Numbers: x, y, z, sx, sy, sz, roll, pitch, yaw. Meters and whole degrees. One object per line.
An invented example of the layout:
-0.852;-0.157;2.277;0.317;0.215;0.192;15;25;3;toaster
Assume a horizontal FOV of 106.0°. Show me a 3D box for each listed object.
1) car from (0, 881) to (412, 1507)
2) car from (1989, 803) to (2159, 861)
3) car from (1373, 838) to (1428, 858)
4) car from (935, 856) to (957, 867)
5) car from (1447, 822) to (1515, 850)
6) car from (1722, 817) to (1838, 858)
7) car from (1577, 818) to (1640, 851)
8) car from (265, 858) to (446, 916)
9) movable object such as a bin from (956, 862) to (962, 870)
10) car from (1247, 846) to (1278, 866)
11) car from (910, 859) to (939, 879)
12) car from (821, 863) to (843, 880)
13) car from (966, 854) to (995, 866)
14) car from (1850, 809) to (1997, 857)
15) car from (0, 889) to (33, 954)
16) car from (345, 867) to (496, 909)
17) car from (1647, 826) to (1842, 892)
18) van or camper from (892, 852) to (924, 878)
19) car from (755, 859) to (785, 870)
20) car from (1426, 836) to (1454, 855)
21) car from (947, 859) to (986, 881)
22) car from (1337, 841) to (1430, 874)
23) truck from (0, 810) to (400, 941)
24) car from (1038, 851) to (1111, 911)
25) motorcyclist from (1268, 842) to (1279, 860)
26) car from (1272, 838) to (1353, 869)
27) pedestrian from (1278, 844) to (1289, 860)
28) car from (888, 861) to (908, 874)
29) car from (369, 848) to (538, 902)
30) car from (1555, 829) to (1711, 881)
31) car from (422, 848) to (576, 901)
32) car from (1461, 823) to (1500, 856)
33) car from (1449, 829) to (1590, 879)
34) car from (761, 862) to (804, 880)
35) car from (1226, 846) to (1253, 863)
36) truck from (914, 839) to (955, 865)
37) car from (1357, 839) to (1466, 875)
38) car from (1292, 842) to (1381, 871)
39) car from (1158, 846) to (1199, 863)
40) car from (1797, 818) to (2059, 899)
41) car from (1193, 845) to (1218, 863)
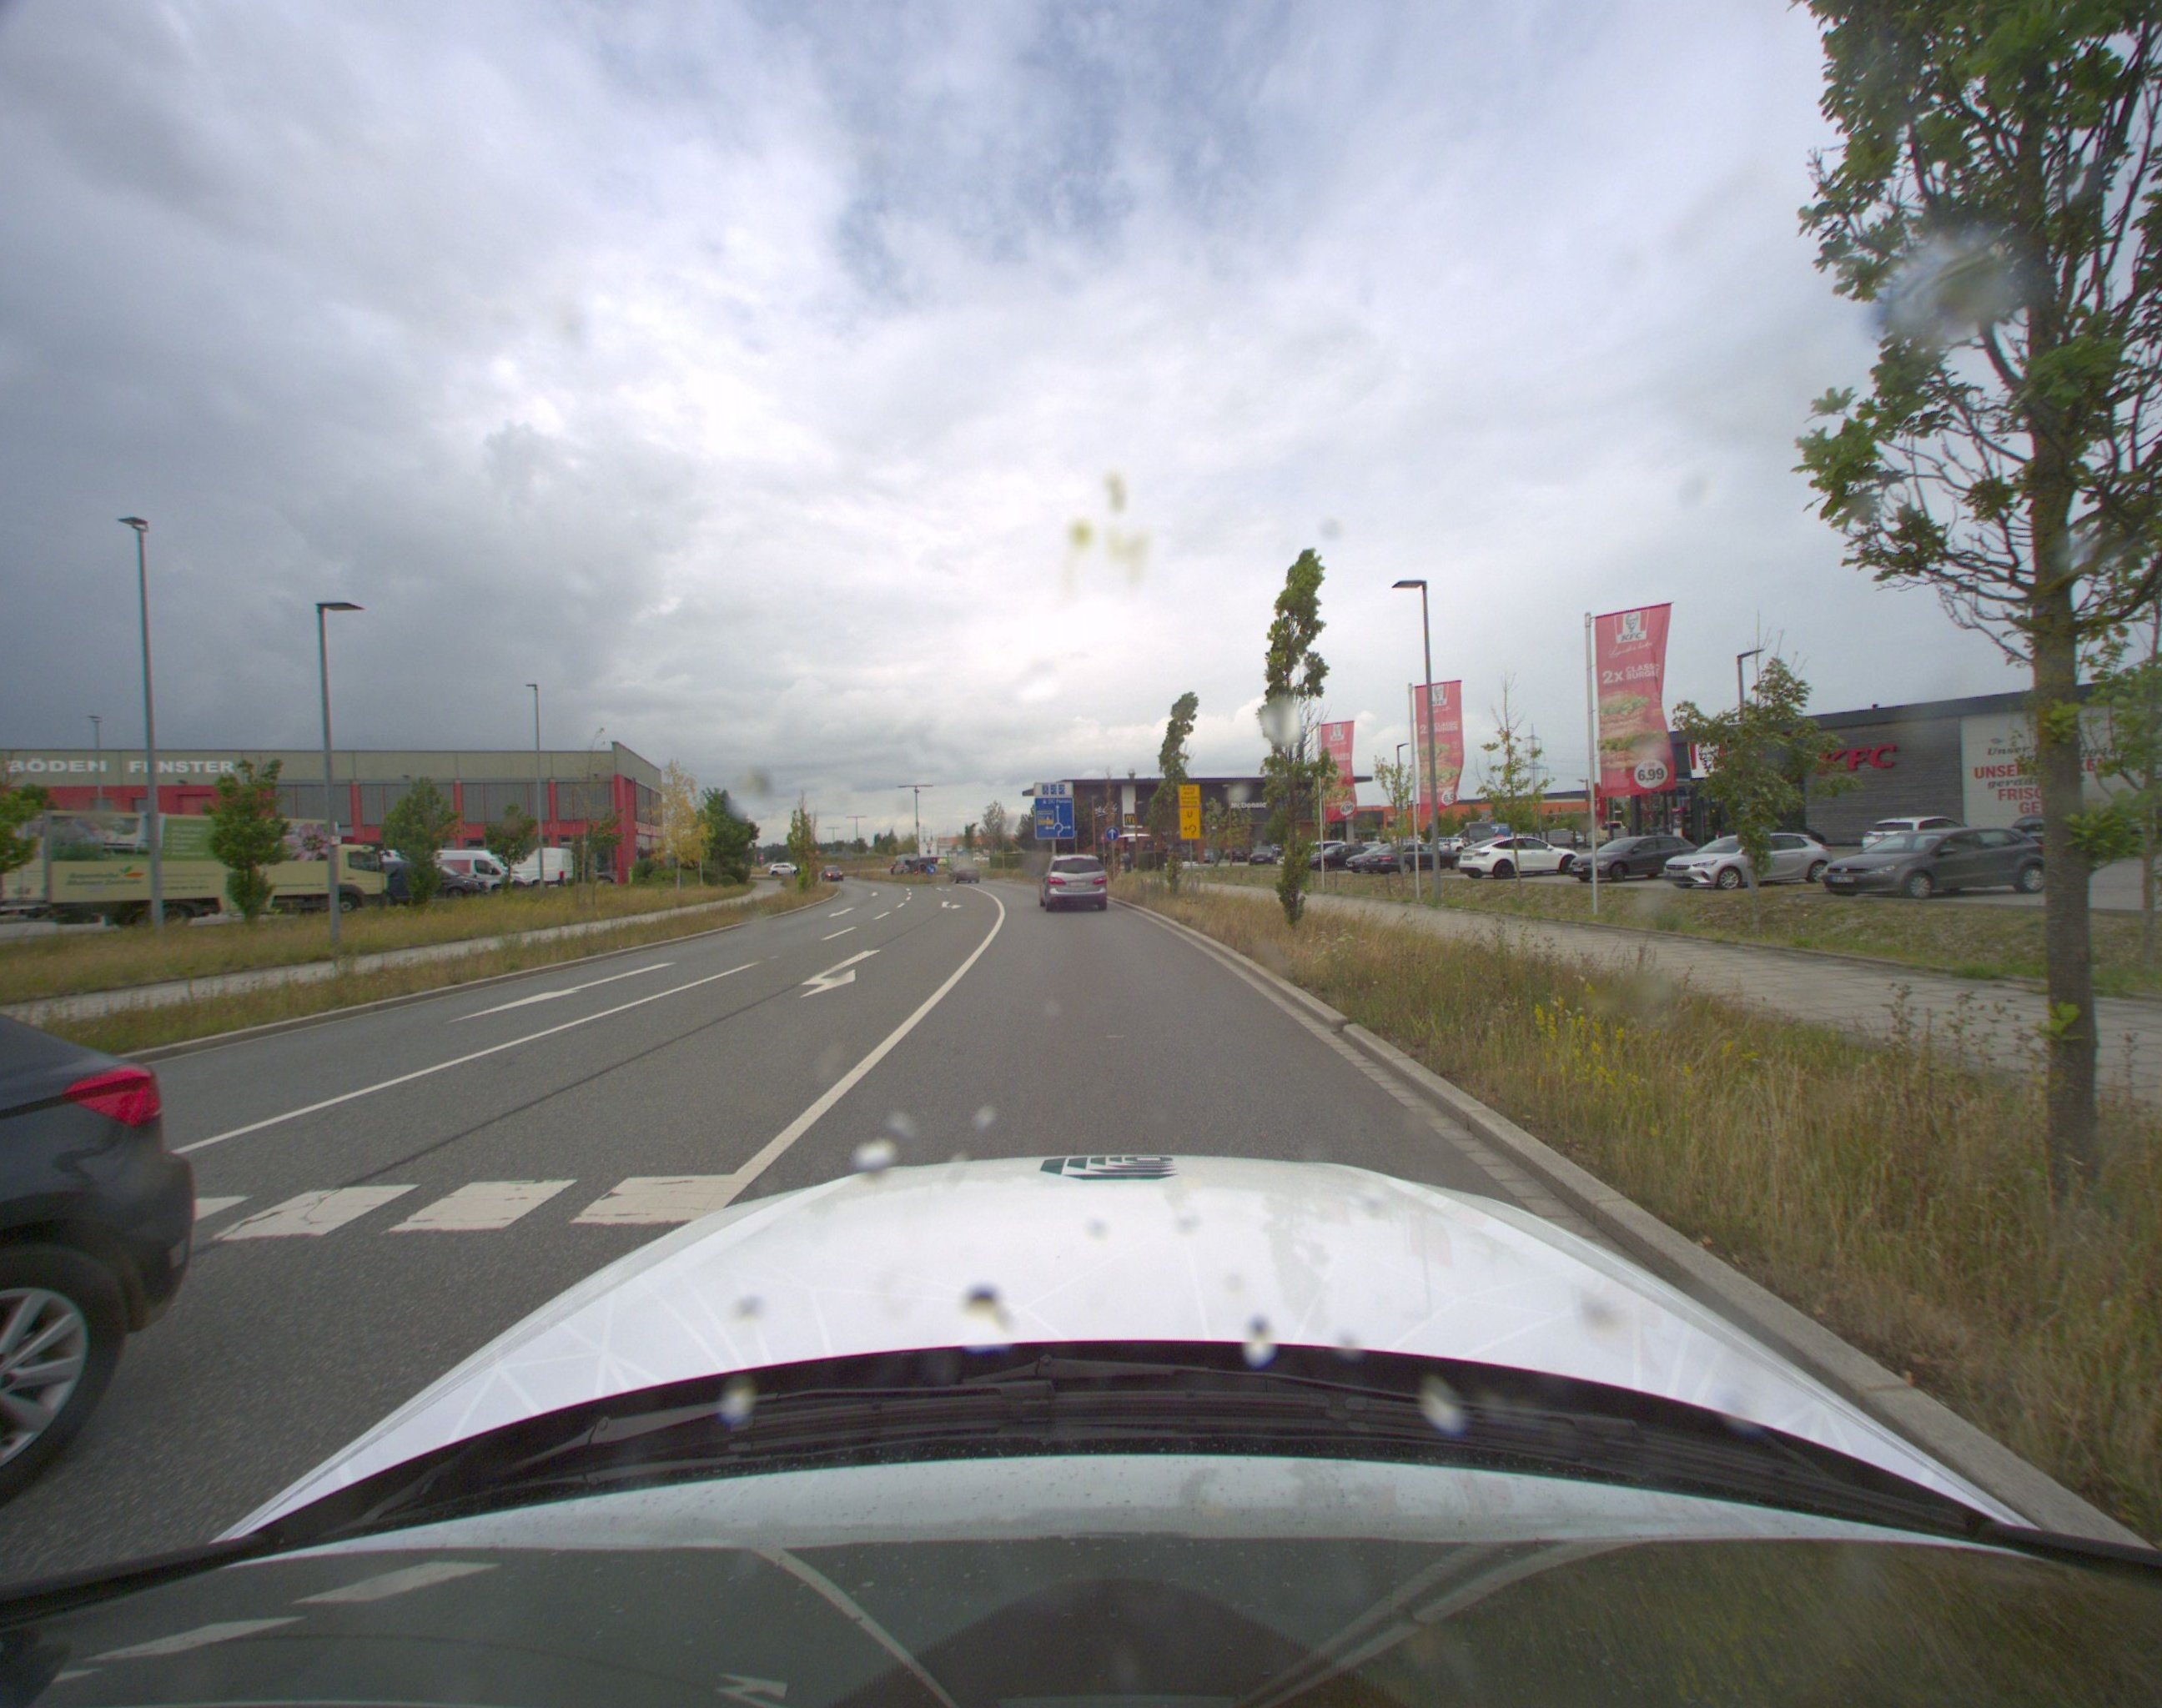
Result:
-3.454;0.841;0.925;1.823;1.420;4.245;-2;0;0;car
31.023;-0.678;25.449;4.578;1.519;1.964;-3;0;-21;car
29.801;-0.560;76.131;4.678;1.656;2.010;-3;0;20;car
-19.580;1.046;118.127;1.981;1.515;4.011;-3;0;9;car
40.550;-1.763;82.517;5.970;2.528;2.296;-2;0;29;car
31.011;-0.728;36.144;4.379;1.519;2.033;-3;0;-20;car
41.101;-1.511;63.609;2.508;2.351;5.716;-2;0;16;car
-28.895;1.274;32.611;4.903;1.990;2.171;-2;0;-11;car
-11.901;1.185;79.325;0.458;0.798;0.377;-2;-1;-22;movable object such as a bin
13.525;0.136;60.639;1.796;1.313;3.868;-2;0;18;car
-14.941;1.431;77.600;2.064;1.826;4.756;-2;0;-18;car
-27.088;1.875;88.655;1.806;1.669;4.294;-5;0;-22;car
-16.405;1.048;133.325;4.604;1.757;1.993;-2;0;-11;car
31.828;-0.770;30.792;4.575;1.519;2.068;-3;0;-19;car
-26.321;1.624;17.662;4.225;1.435;1.994;-2;0;-5;car
-29.865;1.510;37.028;4.919;1.617;1.981;-2;0;-21;car
18.166;0.136;22.415;3.854;1.481;1.900;-4;0;-4;car
-18.126;1.136;85.084;2.312;2.506;5.167;-2;0;-22;van or camper
-49.849;1.717;130.617;3.986;1.407;1.842;-4;0;-9;car
29.652;-0.698;67.363;1.933;1.443;4.242;-3;0;22;car
-8.153;1.111;57.634;1.852;1.418;4.195;-3;0;-21;car
15.628;0.162;42.116;4.092;1.438;1.933;-3;0;-16;car
-27.764;0.582;26.337;2.826;3.541;8.471;-2;0;19;truck
-0.262;0.744;24.116;1.728;1.600;3.797;-1;0;-7;car
20.180;-0.318;85.436;0.953;1.832;0.849;-2;0;17;motorcyclist
14.028;-0.016;49.386;4.362;1.639;1.925;-3;0;-20;car
19.041;-0.214;76.519;0.760;1.439;0.628;-3;0;38;pedestrian
-22.347;1.670;99.703;1.993;1.515;3.988;-2;0;-8;car
-30.629;0.985;40.031;6.087;2.307;2.196;-2;0;-19;car
18.477;0.039;27.349;3.981;1.484;1.937;-3;-1;-5;car
-31.880;1.094;44.873;6.425;2.598;2.230;-2;0;-18;car
32.988;-1.183;67.450;2.254;2.501;7.367;-2;0;21;car
17.310;-0.004;32.275;4.561;1.645;2.082;-4;0;-9;car
-38.045;2.178;103.887;4.596;2.013;1.999;-2;0;-2;car
16.643;0.014;85.309;2.098;1.717;4.252;-2;0;20;car
-23.435;-0.267;129.591;3.154;3.906;9.242;-2;0;-31;truck
15.877;0.141;39.153;4.524;1.469;2.022;-3;0;-14;car
14.702;0.146;46.967;4.479;1.436;2.062;-3;0;-17;car
10.874;0.054;90.782;4.002;1.717;1.986;-2;0;-21;car
18.161;0.091;17.601;3.748;1.494;1.888;-2;0;-2;car
12.825;-0.048;83.561;1.978;1.717;4.017;-2;0;16;car
